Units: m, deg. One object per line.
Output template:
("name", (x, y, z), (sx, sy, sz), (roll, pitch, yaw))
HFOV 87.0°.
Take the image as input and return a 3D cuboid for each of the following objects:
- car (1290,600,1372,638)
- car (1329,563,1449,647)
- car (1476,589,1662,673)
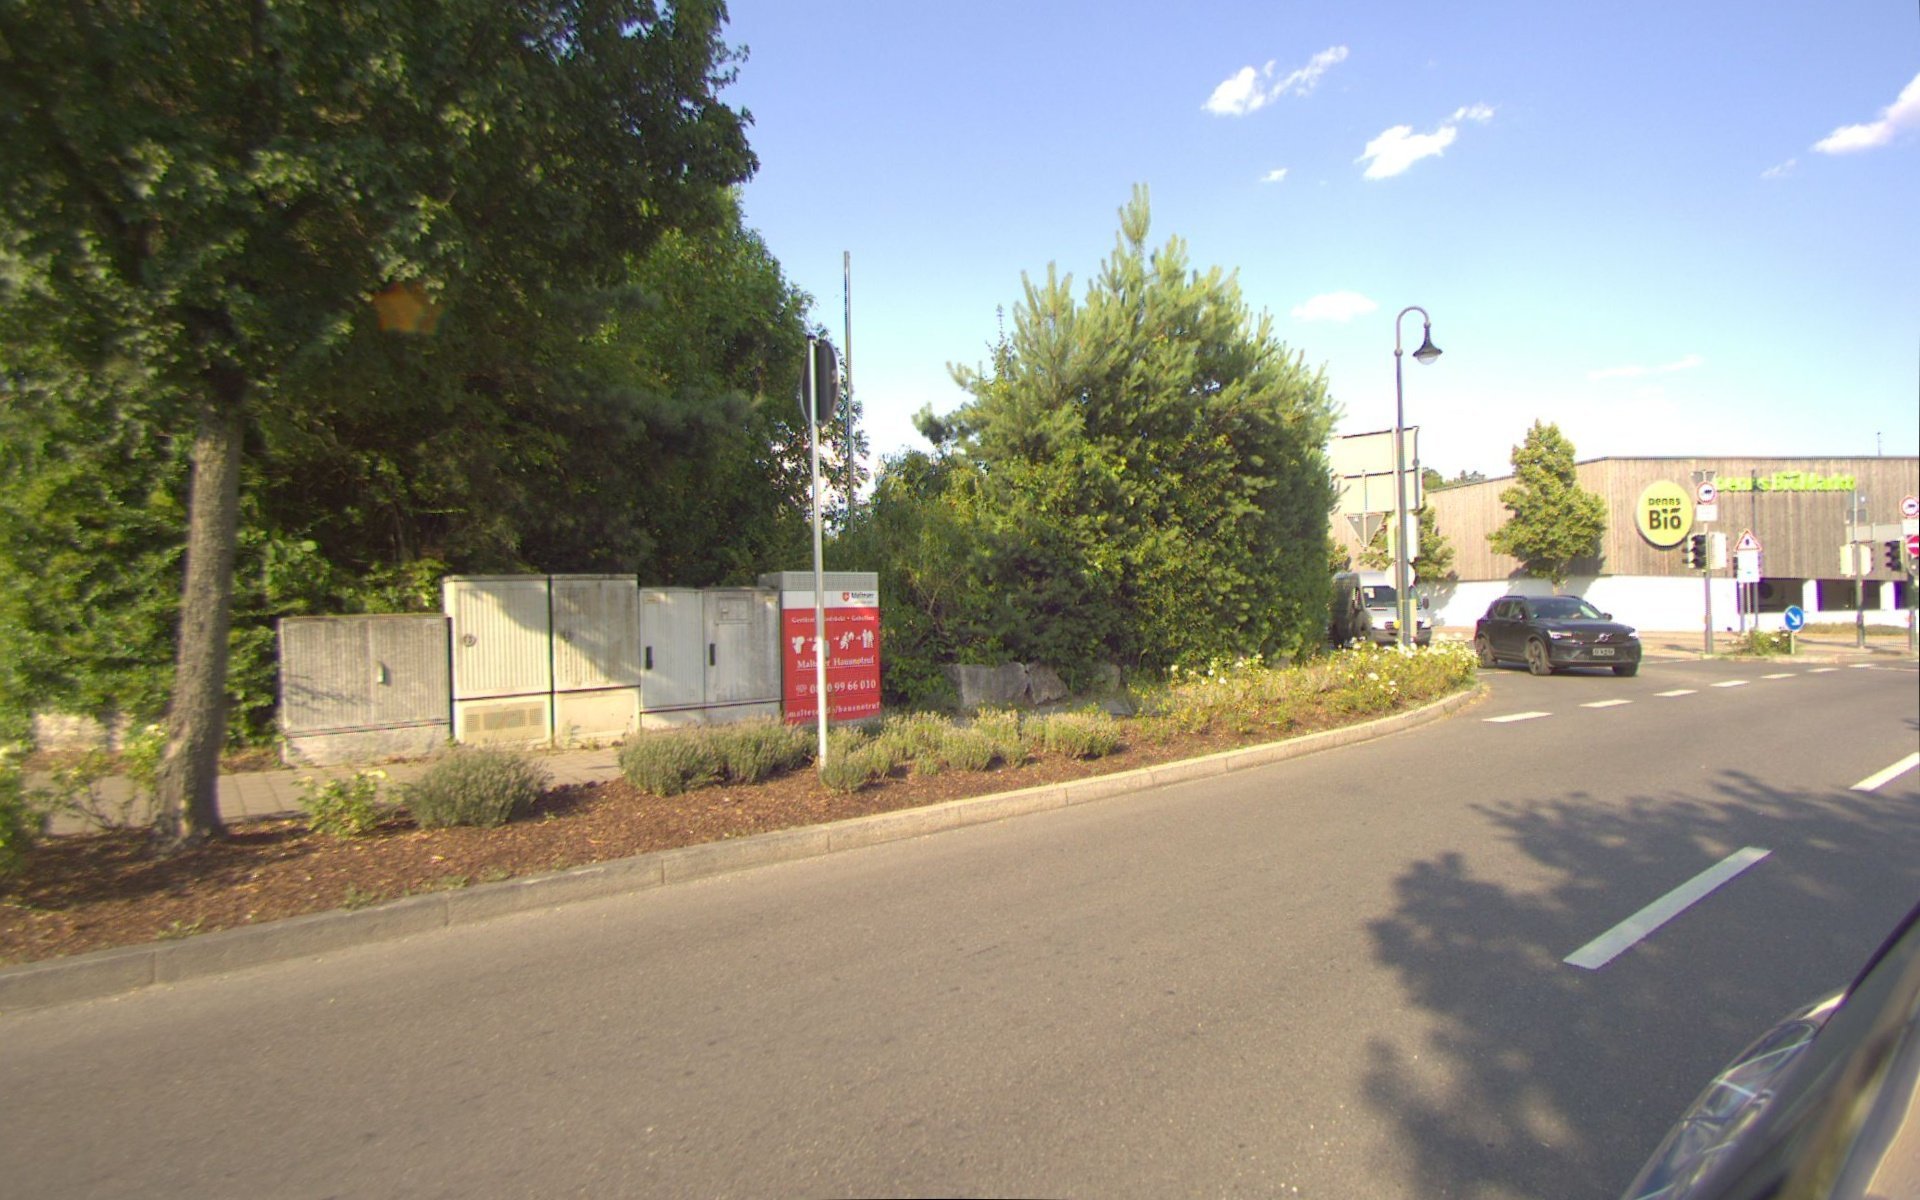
("car", (15.208, 0.731, 41.727), (1.822, 1.471, 4.001), (0, 0, -1))
("car", (14.133, 0.127, 33.766), (2.157, 2.553, 5.848), (0, 0, 7))
("car", (12.625, 0.567, 21.321), (1.762, 1.587, 4.262), (0, 0, 7))
